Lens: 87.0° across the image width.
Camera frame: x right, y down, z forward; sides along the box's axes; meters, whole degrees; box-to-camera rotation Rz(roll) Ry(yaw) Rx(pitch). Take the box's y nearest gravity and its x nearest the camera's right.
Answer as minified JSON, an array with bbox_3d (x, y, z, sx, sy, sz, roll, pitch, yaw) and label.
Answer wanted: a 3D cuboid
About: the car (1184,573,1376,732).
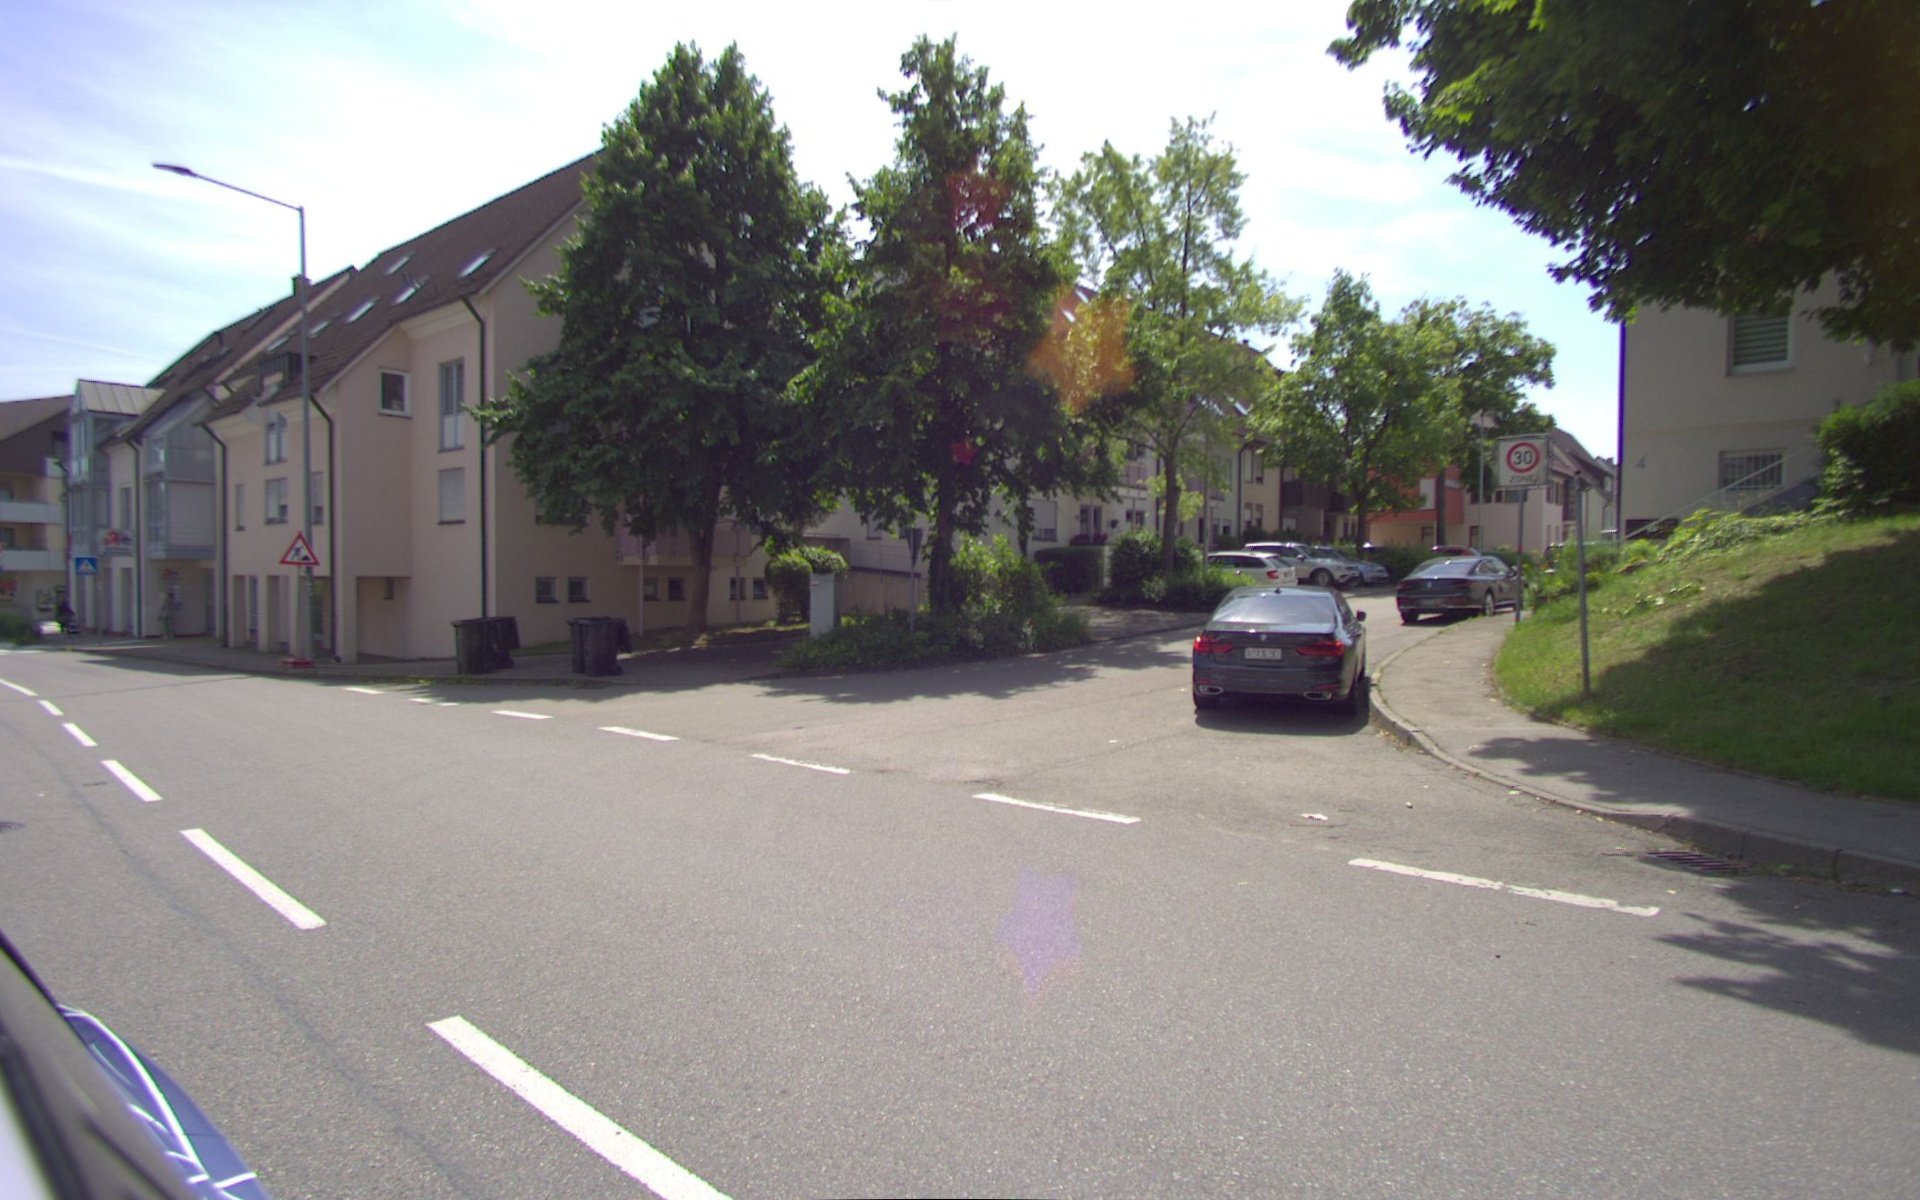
[{"bbox_3d":[4.342,0.513,13.267,1.986,1.490,4.757,-1,3,22],"label":"car"}]

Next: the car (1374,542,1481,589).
[{"bbox_3d":[21.043,-1.524,45.631,3.945,1.833,1.814,-4,-1,42],"label":"car"}]

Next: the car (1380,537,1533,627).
[{"bbox_3d":[11.344,-0.444,23.013,1.910,1.696,3.943,-4,1,44],"label":"car"}]

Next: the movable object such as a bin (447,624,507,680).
[{"bbox_3d":[-9.244,0.976,19.370,0.694,1.008,0.842,-1,0,43],"label":"movable object such as a bin"}]

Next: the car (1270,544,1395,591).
[{"bbox_3d":[13.992,-1.207,38.148,3.999,1.590,1.789,-2,1,42],"label":"car"}]

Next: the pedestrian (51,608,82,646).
[{"bbox_3d":[-35.836,1.060,40.596,0.956,1.489,0.792,-1,1,40],"label":"pedestrian"}]

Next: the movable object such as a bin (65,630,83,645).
[{"bbox_3d":[-35.469,1.499,40.511,0.468,0.586,0.453,-1,1,40],"label":"movable object such as a bin"}]

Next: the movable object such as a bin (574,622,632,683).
[{"bbox_3d":[-6.523,0.944,18.495,0.609,1.007,0.763,2,5,44],"label":"movable object such as a bin"}]

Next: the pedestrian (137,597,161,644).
[{"bbox_3d":[-30.543,0.763,38.117,0.579,1.722,0.569,0,2,42],"label":"pedestrian"}]

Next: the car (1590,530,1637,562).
[{"bbox_3d":[41.870,-3.470,64.772,1.999,1.960,4.301,1,3,40],"label":"car"}]

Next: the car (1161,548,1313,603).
[{"bbox_3d":[8.655,-0.734,31.806,4.145,1.579,1.973,-1,0,41],"label":"car"}]

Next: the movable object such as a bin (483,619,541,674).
[{"bbox_3d":[-8.975,0.920,20.275,0.805,1.008,0.792,-1,2,43],"label":"movable object such as a bin"}]

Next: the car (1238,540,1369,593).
[{"bbox_3d":[12.318,-1.186,36.417,3.999,1.723,1.973,-1,2,42],"label":"car"}]

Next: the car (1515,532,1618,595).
[{"bbox_3d":[18.171,-1.119,30.269,1.774,1.659,3.944,-2,2,44],"label":"car"}]

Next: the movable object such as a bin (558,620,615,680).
[{"bbox_3d":[-6.979,0.927,18.931,0.609,1.007,0.763,2,5,43],"label":"movable object such as a bin"}]
